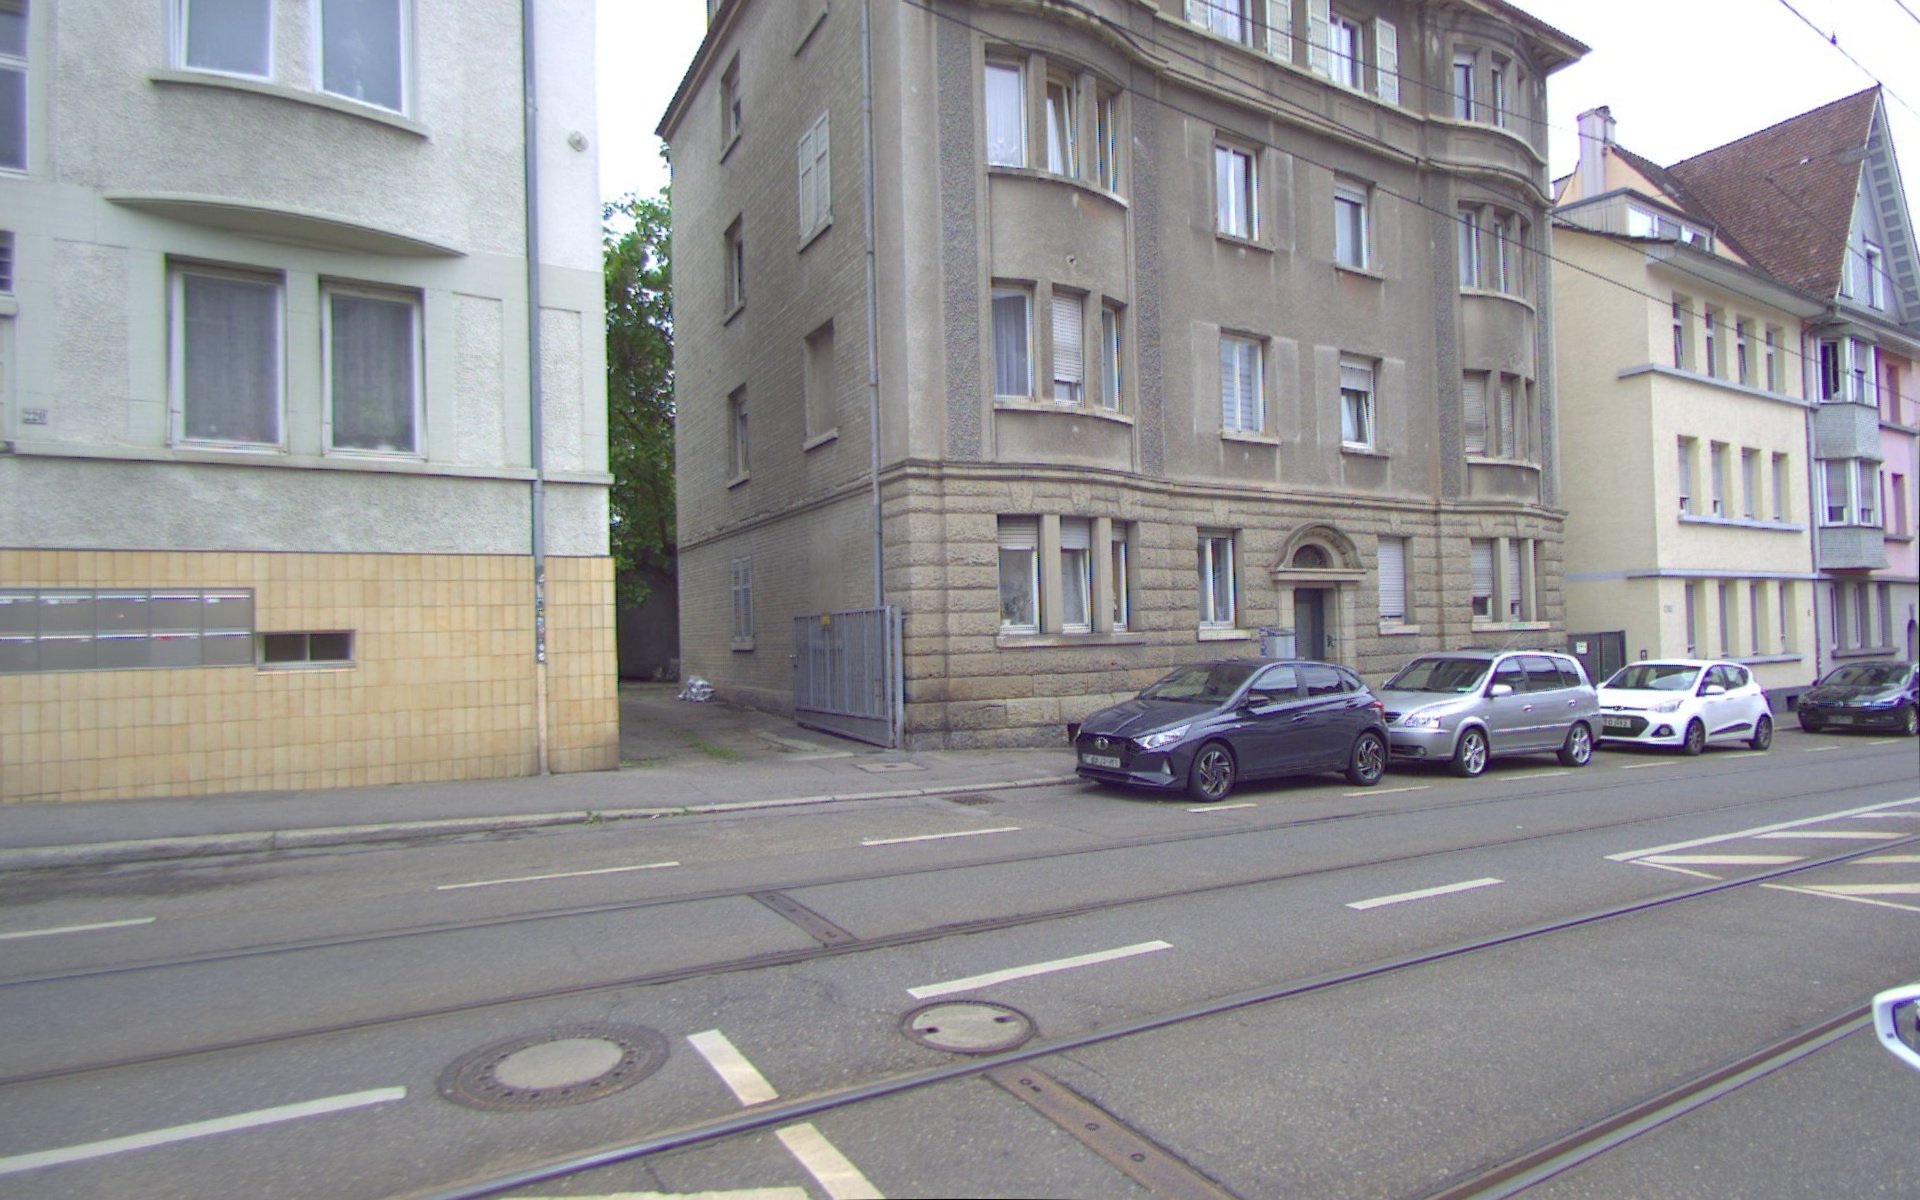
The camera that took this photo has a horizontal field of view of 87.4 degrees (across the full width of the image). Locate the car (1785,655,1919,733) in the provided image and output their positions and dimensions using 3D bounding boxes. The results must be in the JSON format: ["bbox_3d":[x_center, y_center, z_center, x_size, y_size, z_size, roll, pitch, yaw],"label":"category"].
[{"bbox_3d":[19.228,1.928,21.055,4.506,1.492,1.612,3,-4,-32],"label":"car"}]

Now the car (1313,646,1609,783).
[{"bbox_3d":[6.929,1.454,13.778,4.303,1.625,1.612,2,-4,-32],"label":"car"}]

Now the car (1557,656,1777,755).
[{"bbox_3d":[11.837,1.708,16.788,3.642,1.482,1.613,3,-4,-30],"label":"car"}]

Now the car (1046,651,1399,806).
[{"bbox_3d":[3.043,1.362,11.423,3.989,1.482,1.612,3,-4,-32],"label":"car"}]

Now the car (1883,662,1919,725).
[{"bbox_3d":[24.124,2.228,24.178,3.954,1.428,1.728,2,-3,-31],"label":"car"}]
